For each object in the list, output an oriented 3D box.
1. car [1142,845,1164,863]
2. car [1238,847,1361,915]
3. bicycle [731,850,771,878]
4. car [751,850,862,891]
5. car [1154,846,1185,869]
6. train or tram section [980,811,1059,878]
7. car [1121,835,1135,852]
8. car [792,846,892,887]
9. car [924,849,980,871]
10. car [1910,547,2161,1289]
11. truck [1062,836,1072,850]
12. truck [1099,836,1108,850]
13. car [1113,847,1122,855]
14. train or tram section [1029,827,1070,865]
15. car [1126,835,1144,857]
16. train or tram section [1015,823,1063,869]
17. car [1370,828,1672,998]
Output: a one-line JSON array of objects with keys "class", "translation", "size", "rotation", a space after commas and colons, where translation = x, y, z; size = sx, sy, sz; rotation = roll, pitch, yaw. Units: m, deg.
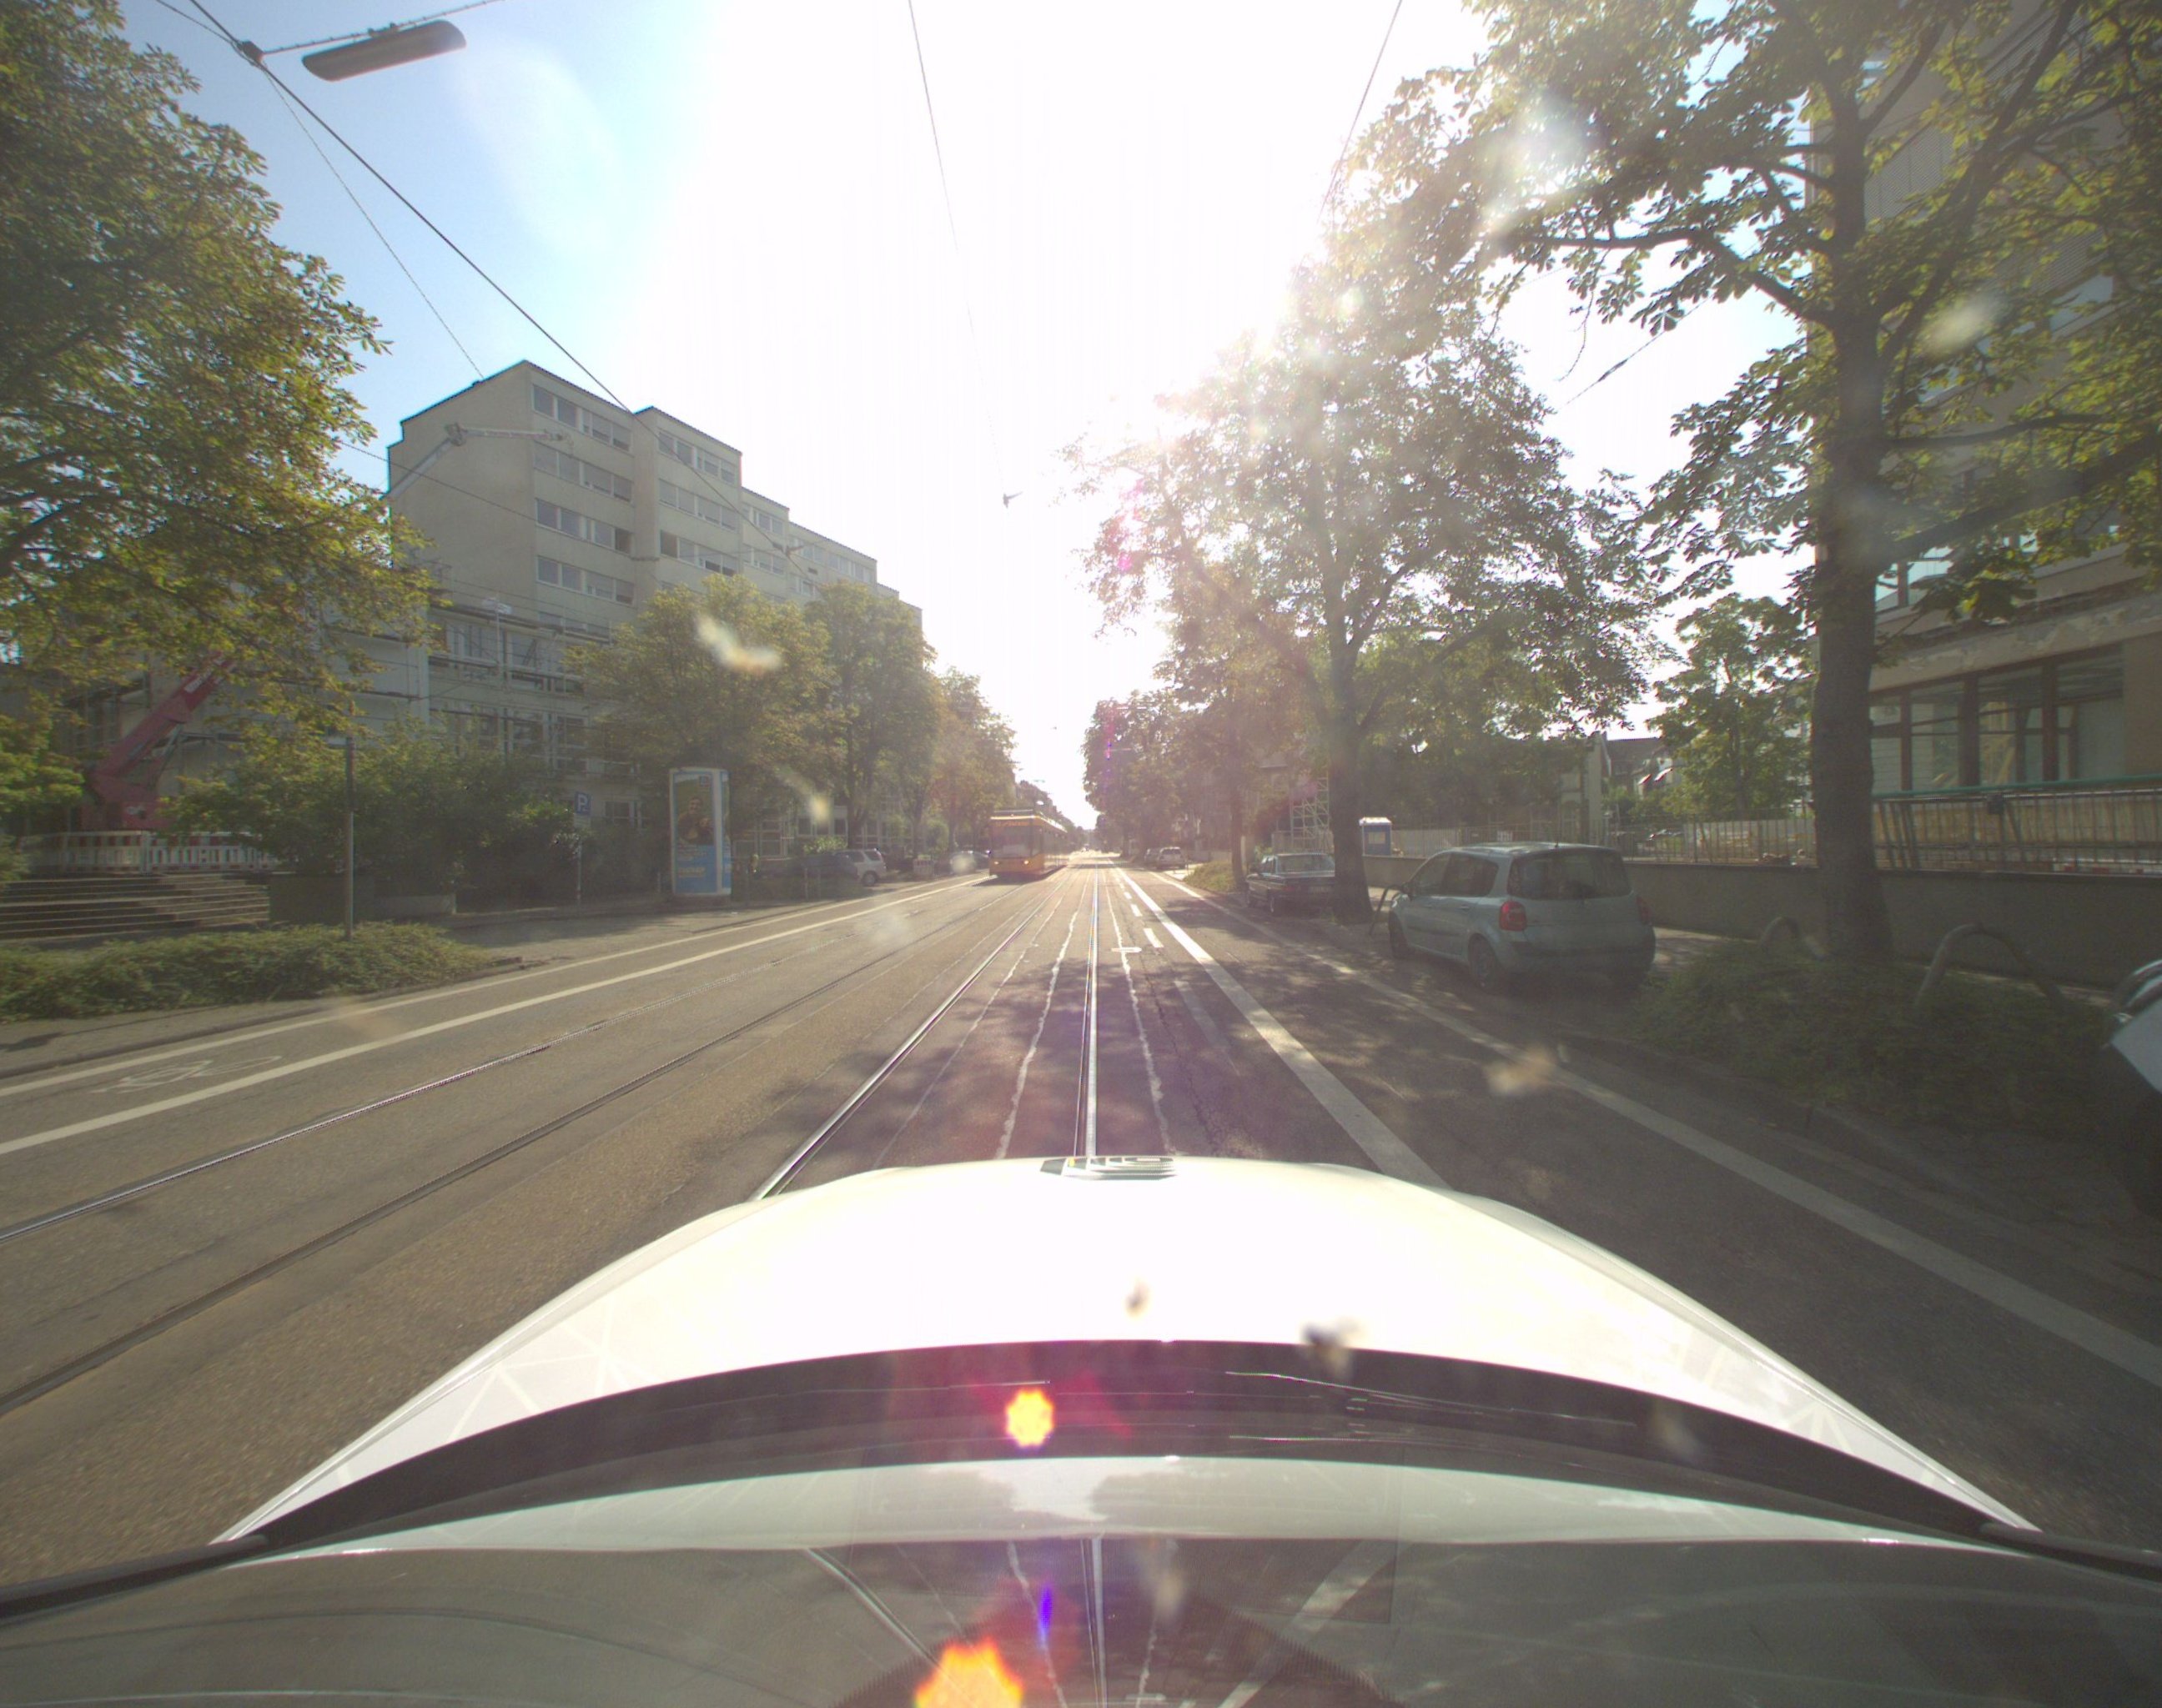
[{"class": "car", "translation": [5.910, 0.002, 66.756], "size": [1.589, 1.418, 3.636], "rotation": [-1, 0, 2]}, {"class": "car", "translation": [5.128, 0.553, 19.763], "size": [1.747, 1.377, 4.720], "rotation": [-3, 0, 1]}, {"class": "bicycle", "translation": [-16.710, 0.521, 41.234], "size": [2.401, 1.380, 0.590], "rotation": [-1, 0, 32]}, {"class": "car", "translation": [-10.852, 0.618, 32.330], "size": [3.816, 1.442, 1.673], "rotation": [-2, 1, -42]}, {"class": "car", "translation": [5.731, 0.214, 52.916], "size": [1.683, 1.418, 3.636], "rotation": [-1, 0, 2]}, {"class": "train or tram section", "translation": [-2.960, -0.472, 44.186], "size": [2.719, 2.894, 15.458], "rotation": [-1, 0, 1]}, {"class": "car", "translation": [6.999, -1.587, 121.762], "size": [1.997, 2.475, 4.479], "rotation": [-1, 0, 2]}, {"class": "car", "translation": [-10.493, 0.514, 35.902], "size": [3.817, 1.621, 1.722], "rotation": [-2, 1, -44]}, {"class": "car", "translation": [-8.987, 0.380, 57.018], "size": [1.550, 1.443, 3.787], "rotation": [-1, 1, 41]}, {"class": "car", "translation": [4.724, 0.183, 0.788], "size": [2.076, 2.552, 5.500], "rotation": [-5, 0, 0]}, {"class": "truck", "translation": [-3.215, -2.480, 183.571], "size": [1.987, 2.975, 4.571], "rotation": [-1, 0, 1]}, {"class": "truck", "translation": [5.110, -2.538, 183.666], "size": [1.855, 3.130, 4.351], "rotation": [-1, 0, -1]}, {"class": "car", "translation": [8.859, -0.813, 198.587], "size": [1.986, 1.837, 4.002], "rotation": [-1, 0, 2]}, {"class": "train or tram section", "translation": [-2.480, -0.643, 67.446], "size": [2.671, 2.861, 10.546], "rotation": [-1, 0, 1]}, {"class": "car", "translation": [6.292, -0.986, 94.956], "size": [1.997, 2.490, 4.479], "rotation": [-1, 1, 2]}, {"class": "train or tram section", "translation": [-2.732, -0.550, 55.210], "size": [2.719, 2.849, 6.545], "rotation": [-1, 0, 1]}, {"class": "car", "translation": [5.057, 0.549, 10.018], "size": [1.658, 1.616, 3.878], "rotation": [-2, 1, 2]}]
